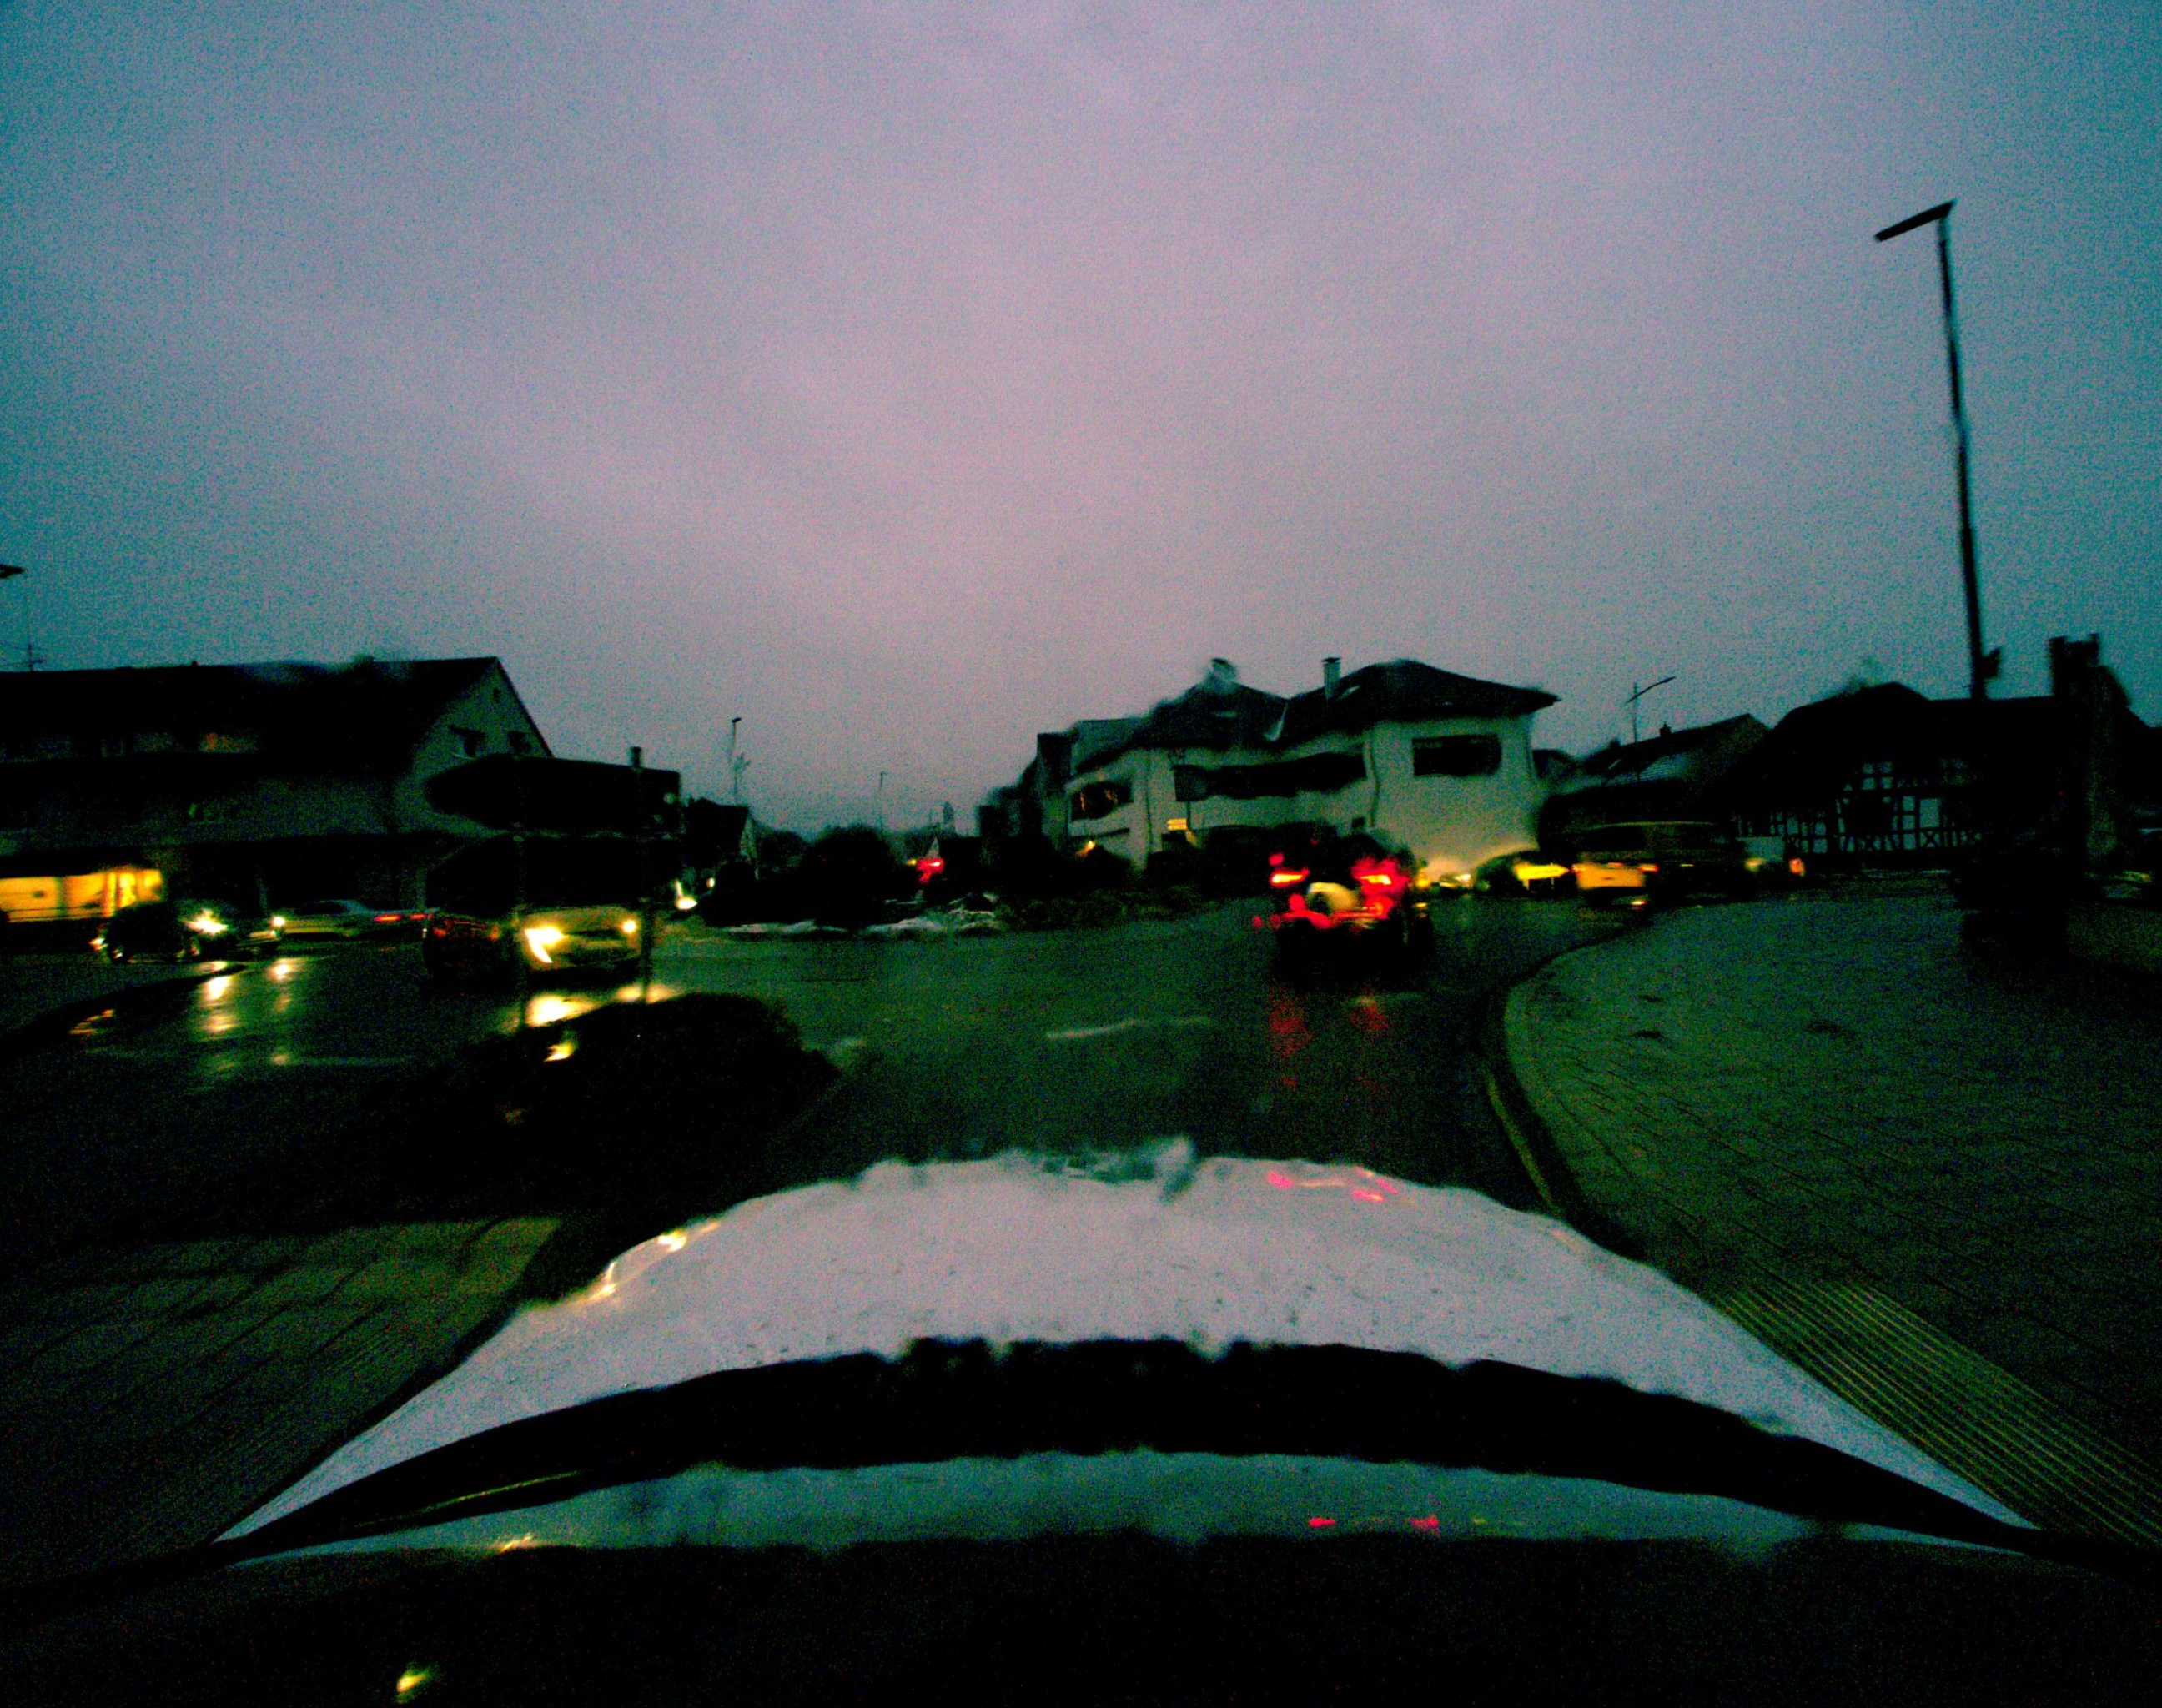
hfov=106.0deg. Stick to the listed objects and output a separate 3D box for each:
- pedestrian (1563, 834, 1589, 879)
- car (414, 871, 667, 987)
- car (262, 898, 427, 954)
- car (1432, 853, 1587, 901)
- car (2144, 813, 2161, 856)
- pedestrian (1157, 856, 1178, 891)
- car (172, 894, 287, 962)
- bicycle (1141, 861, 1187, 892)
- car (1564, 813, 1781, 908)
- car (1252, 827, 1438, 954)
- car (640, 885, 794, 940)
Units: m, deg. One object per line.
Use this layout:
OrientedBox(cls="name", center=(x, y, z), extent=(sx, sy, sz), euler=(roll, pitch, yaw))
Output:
OrientedBox(cls="pedestrian", center=(20.601, 0.111, 33.894), extent=(0.711, 1.831, 0.639), euler=(-2, 1, 9))
OrientedBox(cls="car", center=(-8.240, 1.078, 12.325), extent=(3.960, 1.421, 1.727), euler=(-3, 0, 33))
OrientedBox(cls="car", center=(-25.860, 2.510, 28.707), extent=(4.050, 1.662, 1.700), euler=(-2, -1, -6))
OrientedBox(cls="car", center=(14.328, 0.798, 27.366), extent=(4.211, 1.384, 1.848), euler=(-2, -3, -3))
OrientedBox(cls="car", center=(40.580, -0.782, 29.573), extent=(4.268, 1.508, 1.681), euler=(-1, -2, -28))
OrientedBox(cls="pedestrian", center=(3.966, 0.874, 37.222), extent=(0.683, 1.564, 0.614), euler=(-3, 0, 27))
OrientedBox(cls="car", center=(-24.750, 2.054, 23.634), extent=(4.573, 1.593, 1.966), euler=(-1, 0, 40))
OrientedBox(cls="bicycle", center=(3.747, 1.024, 36.761), extent=(1.918, 1.295, 0.555), euler=(-3, 1, 27))
OrientedBox(cls="car", center=(14.397, 0.118, 19.810), extent=(4.905, 2.014, 1.984), euler=(-2, -1, -23))
OrientedBox(cls="car", center=(4.250, 0.453, 12.668), extent=(1.897, 1.615, 3.975), euler=(-3, 0, 30))
OrientedBox(cls="car", center=(-12.671, 2.017, 28.554), extent=(4.475, 1.611, 1.898), euler=(-2, -1, -3))
